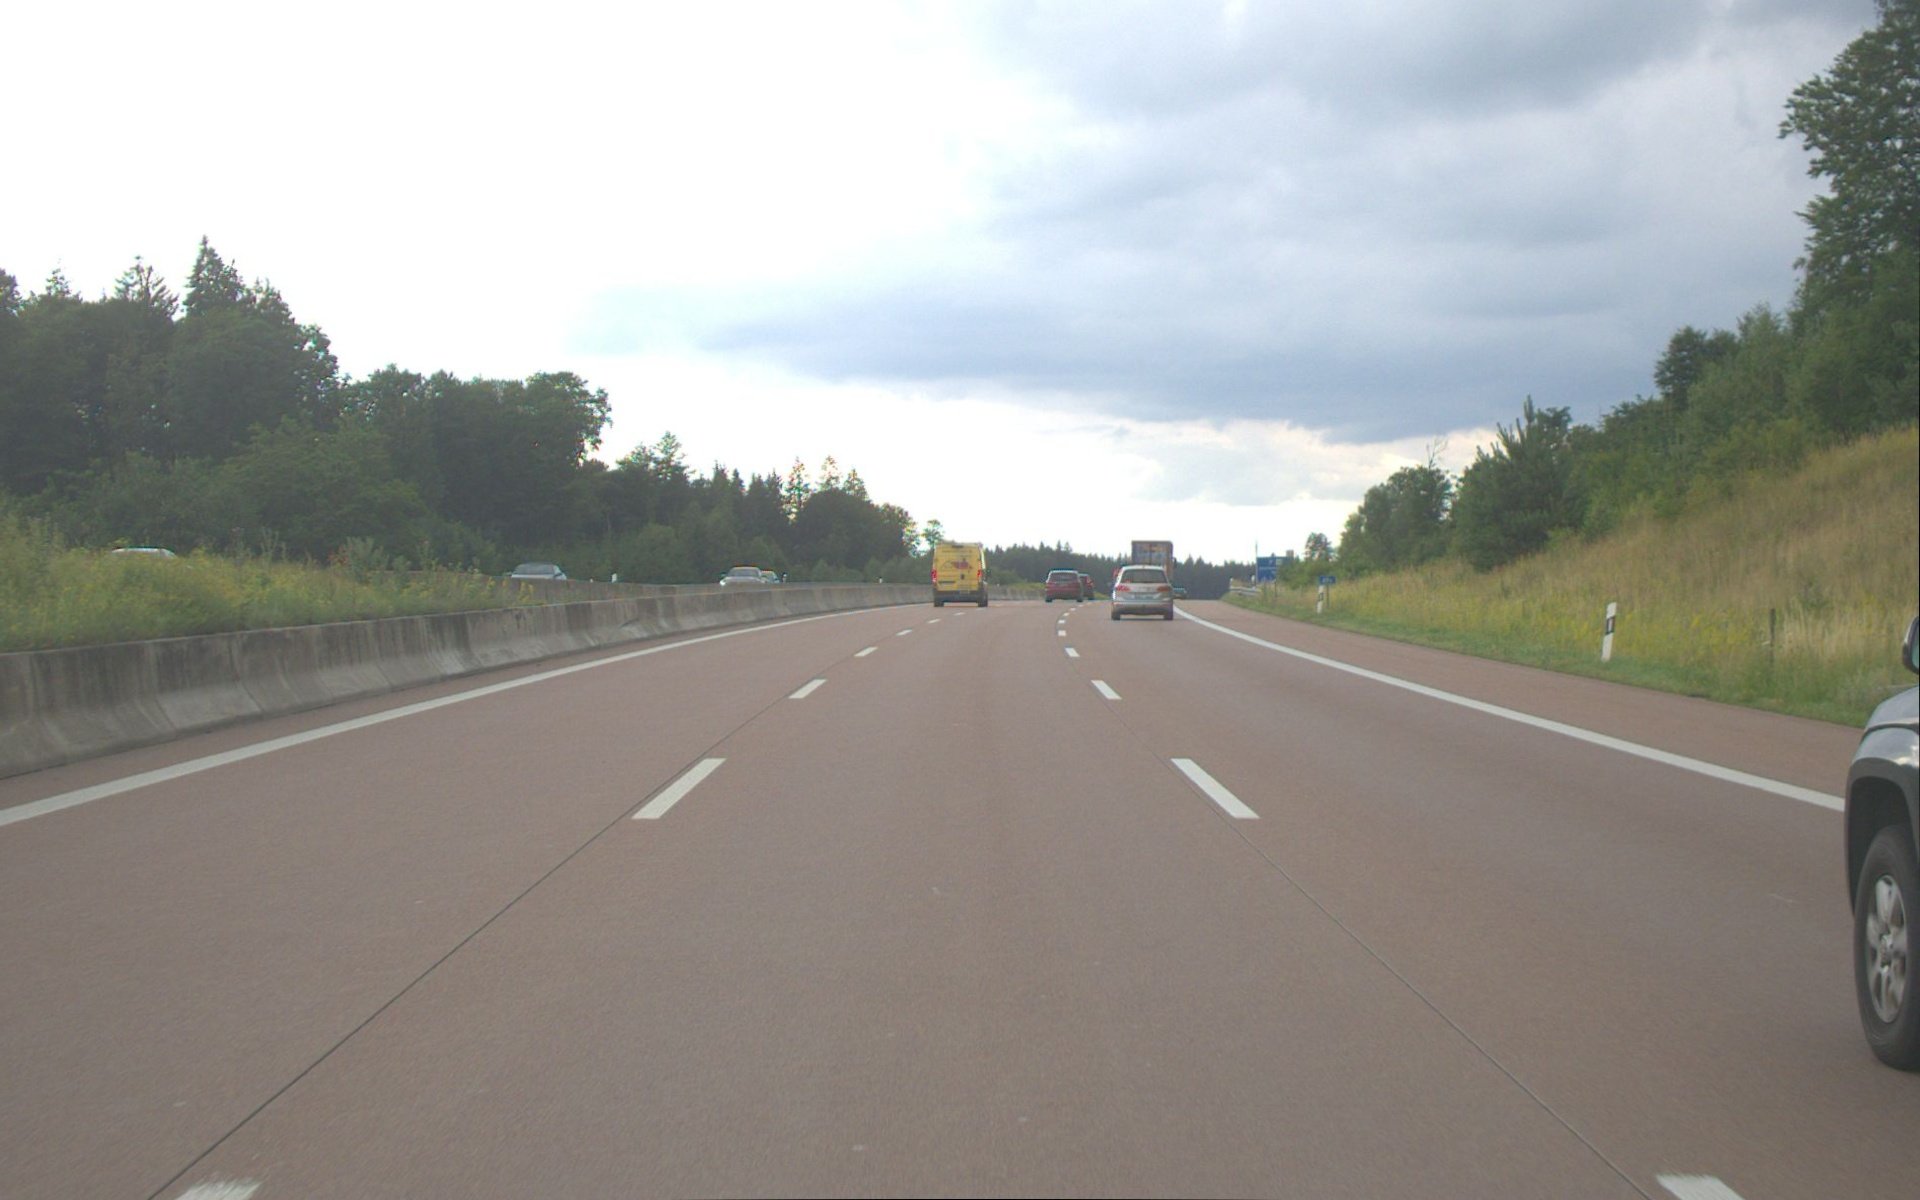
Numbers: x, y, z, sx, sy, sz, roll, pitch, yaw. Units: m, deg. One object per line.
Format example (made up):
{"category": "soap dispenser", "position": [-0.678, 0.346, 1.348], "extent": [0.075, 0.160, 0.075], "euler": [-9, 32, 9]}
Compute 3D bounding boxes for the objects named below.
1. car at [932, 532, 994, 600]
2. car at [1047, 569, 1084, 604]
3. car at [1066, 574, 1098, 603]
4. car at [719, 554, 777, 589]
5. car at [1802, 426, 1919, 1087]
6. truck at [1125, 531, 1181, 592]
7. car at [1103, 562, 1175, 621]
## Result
{"category": "car", "position": [0.119, -1.366, 140.573], "extent": [2.458, 2.697, 5.613], "euler": [0, 0, 0]}
{"category": "car", "position": [5.484, -0.692, 177.963], "extent": [1.887, 1.758, 4.782], "euler": [0, 0, 2]}
{"category": "car", "position": [7.548, -0.700, 212.089], "extent": [1.887, 1.758, 4.997], "euler": [0, 0, 3]}
{"category": "car", "position": [-9.763, -1.290, 158.610], "extent": [1.733, 1.520, 4.243], "euler": [1, -1, 9]}
{"category": "car", "position": [3.785, 0.449, 8.334], "extent": [2.044, 1.890, 5.577], "euler": [0, 0, -1]}
{"category": "truck", "position": [13.404, -2.585, 237.964], "extent": [3.681, 3.899, 12.814], "euler": [1, -1, 3]}
{"category": "car", "position": [5.226, -0.257, 99.955], "extent": [1.978, 1.642, 4.618], "euler": [1, 0, 4]}
